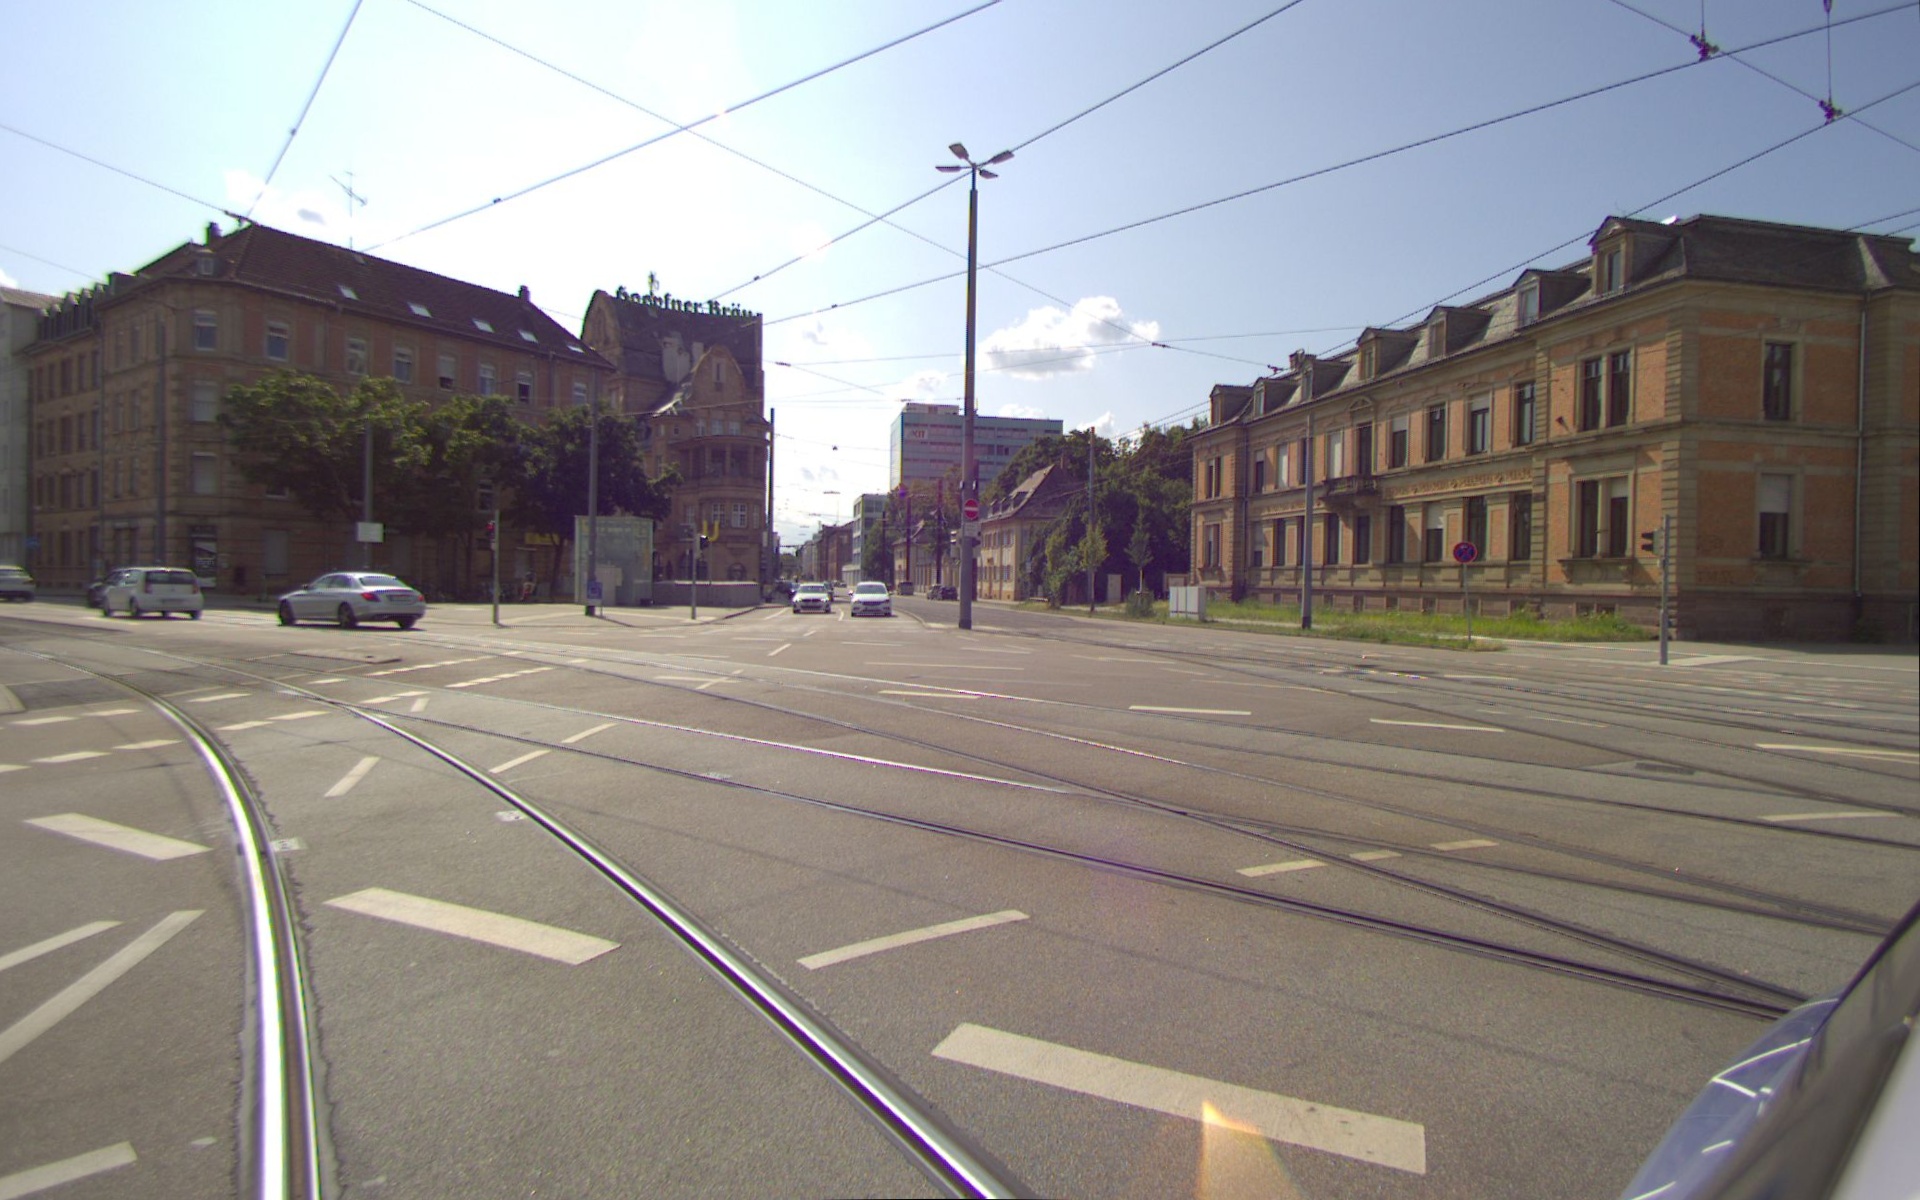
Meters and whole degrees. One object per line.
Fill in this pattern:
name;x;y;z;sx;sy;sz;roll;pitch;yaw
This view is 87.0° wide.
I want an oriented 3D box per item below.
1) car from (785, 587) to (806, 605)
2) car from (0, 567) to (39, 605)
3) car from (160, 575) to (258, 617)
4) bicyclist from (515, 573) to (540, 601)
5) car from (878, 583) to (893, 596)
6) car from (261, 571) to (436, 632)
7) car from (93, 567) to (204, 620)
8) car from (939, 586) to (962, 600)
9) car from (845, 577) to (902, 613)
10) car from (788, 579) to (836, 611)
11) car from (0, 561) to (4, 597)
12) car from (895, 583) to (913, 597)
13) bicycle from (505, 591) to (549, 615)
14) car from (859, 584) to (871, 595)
car;-15.430;-0.375;94.625;1.685;1.704;3.934;1;0;-13
car;-38.003;-0.559;39.971;3.659;1.437;1.830;1;0;38
car;-26.574;-0.178;35.775;4.108;1.389;1.682;2;1;36
bicyclist;-19.165;-0.578;44.824;0.916;1.235;0.630;2;2;30
car;-11.072;-1.547;150.661;1.959;1.838;4.006;1;1;-8
car;-16.401;-0.017;27.093;4.716;1.473;1.918;1;1;29
car;-24.090;-0.226;30.008;3.977;1.439;1.633;2;1;37
car;-0.989;-0.719;100.810;1.960;1.393;4.004;1;1;-5
car;-3.750;-0.236;44.435;1.955;1.502;3.997;0;1;3
car;-7.256;-0.267;49.950;2.006;1.448;4.543;-1;1;-4
car;-46.864;-0.992;47.731;3.974;1.673;1.819;0;0;35
car;-7.257;-1.299;130.668;1.959;1.838;4.006;1;1;-8
bicycle;-19.195;0.127;44.840;1.945;0.982;0.840;1;1;31
car;-16.703;-1.868;177.819;1.959;1.838;4.006;1;1;-8
